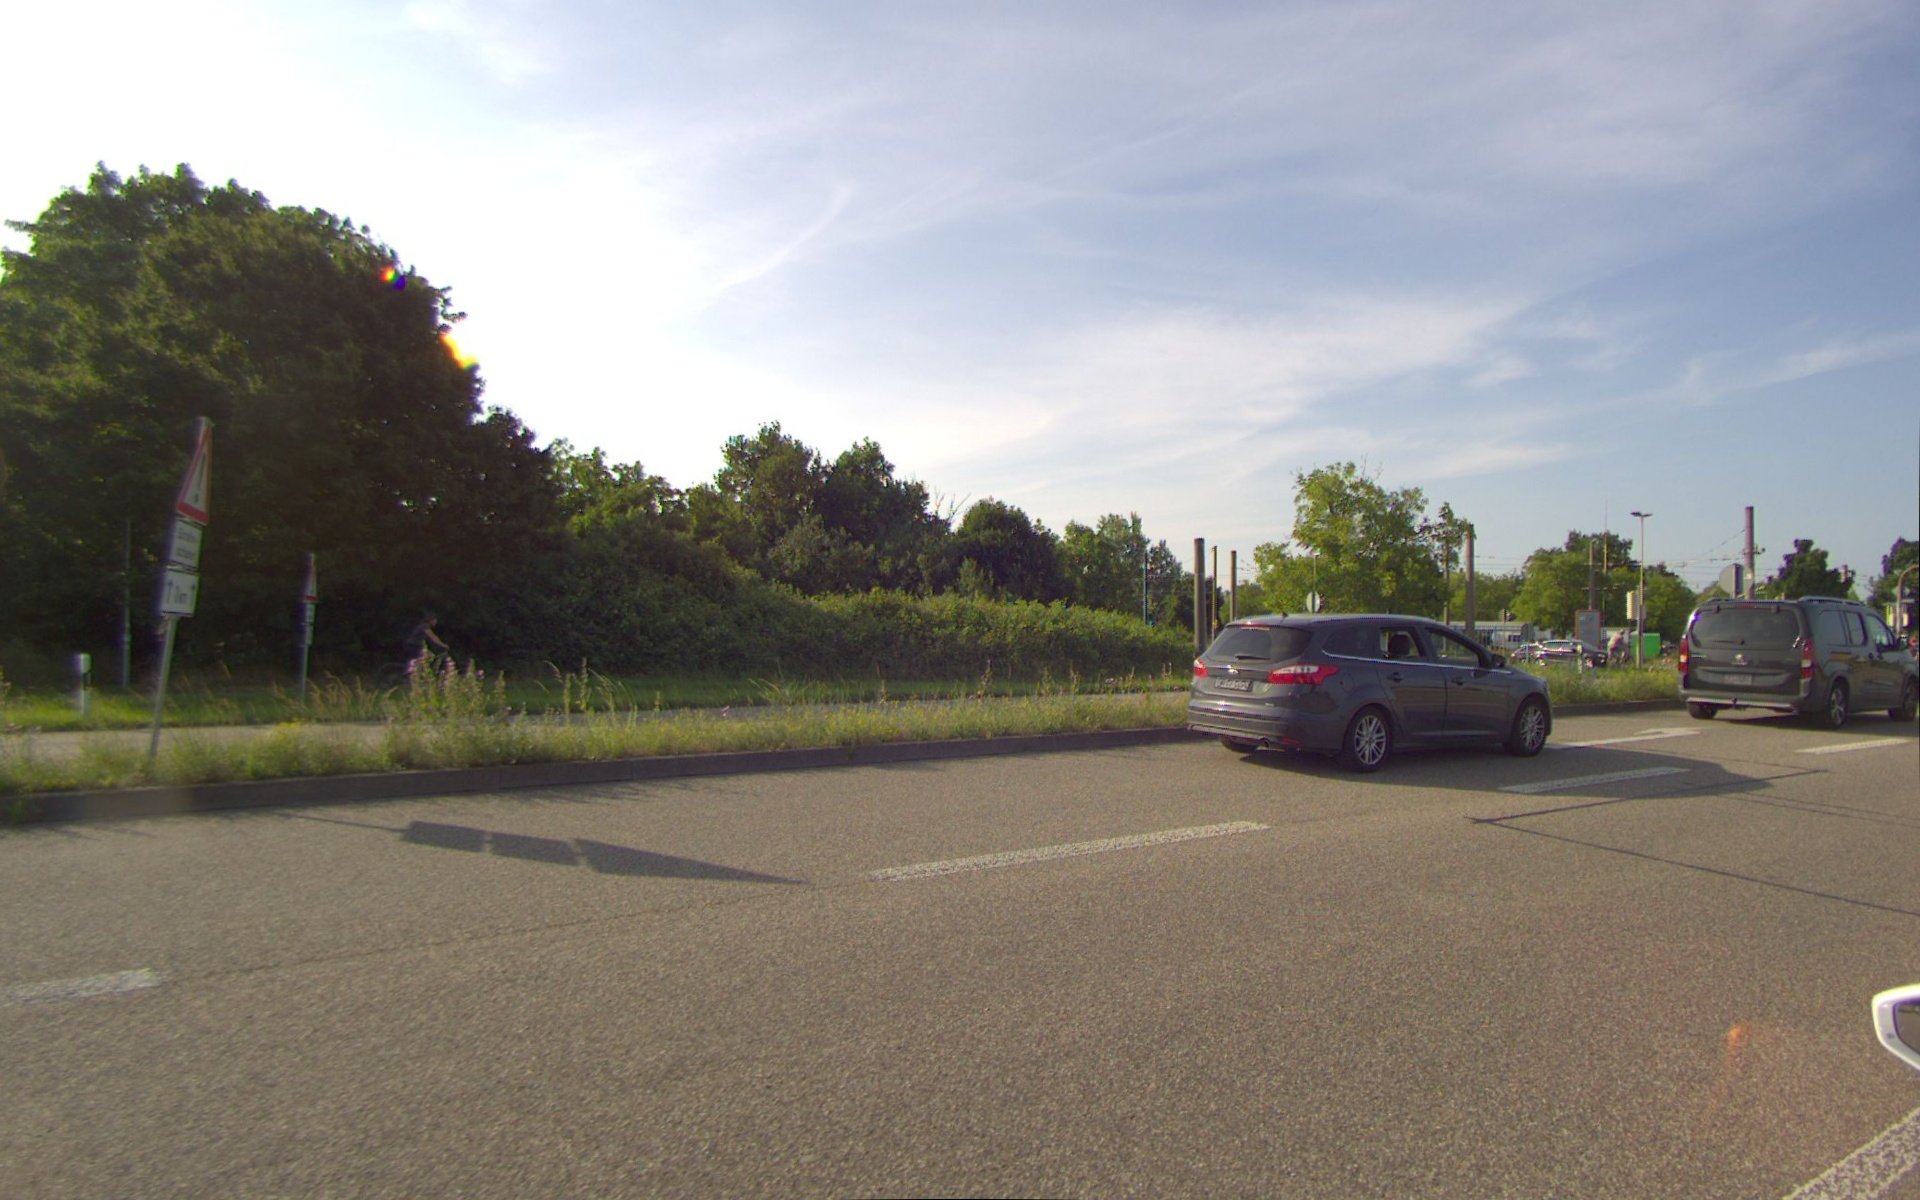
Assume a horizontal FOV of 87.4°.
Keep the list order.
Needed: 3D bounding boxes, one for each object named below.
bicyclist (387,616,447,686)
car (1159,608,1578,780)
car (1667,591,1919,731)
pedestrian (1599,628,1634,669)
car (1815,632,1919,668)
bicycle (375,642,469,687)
[{"bbox_3d":[-11.199,1.052,20.720,1.036,1.408,0.464,1,-1,-32],"label":"bicyclist"},{"bbox_3d":[4.370,0.864,10.535,4.467,1.475,1.724,1,-1,-30],"label":"car"},{"bbox_3d":[12.887,0.869,15.435,4.469,1.880,1.723,1,-1,-32],"label":"car"},{"bbox_3d":[28.848,2.139,44.132,1.057,1.728,0.909,3,0,-36],"label":"pedestrian"},{"bbox_3d":[48.090,2.588,53.050,1.901,1.739,4.247,1,-1,-39],"label":"car"},{"bbox_3d":[-11.120,1.325,20.780,1.685,0.890,0.527,2,-1,-31],"label":"bicycle"}]
